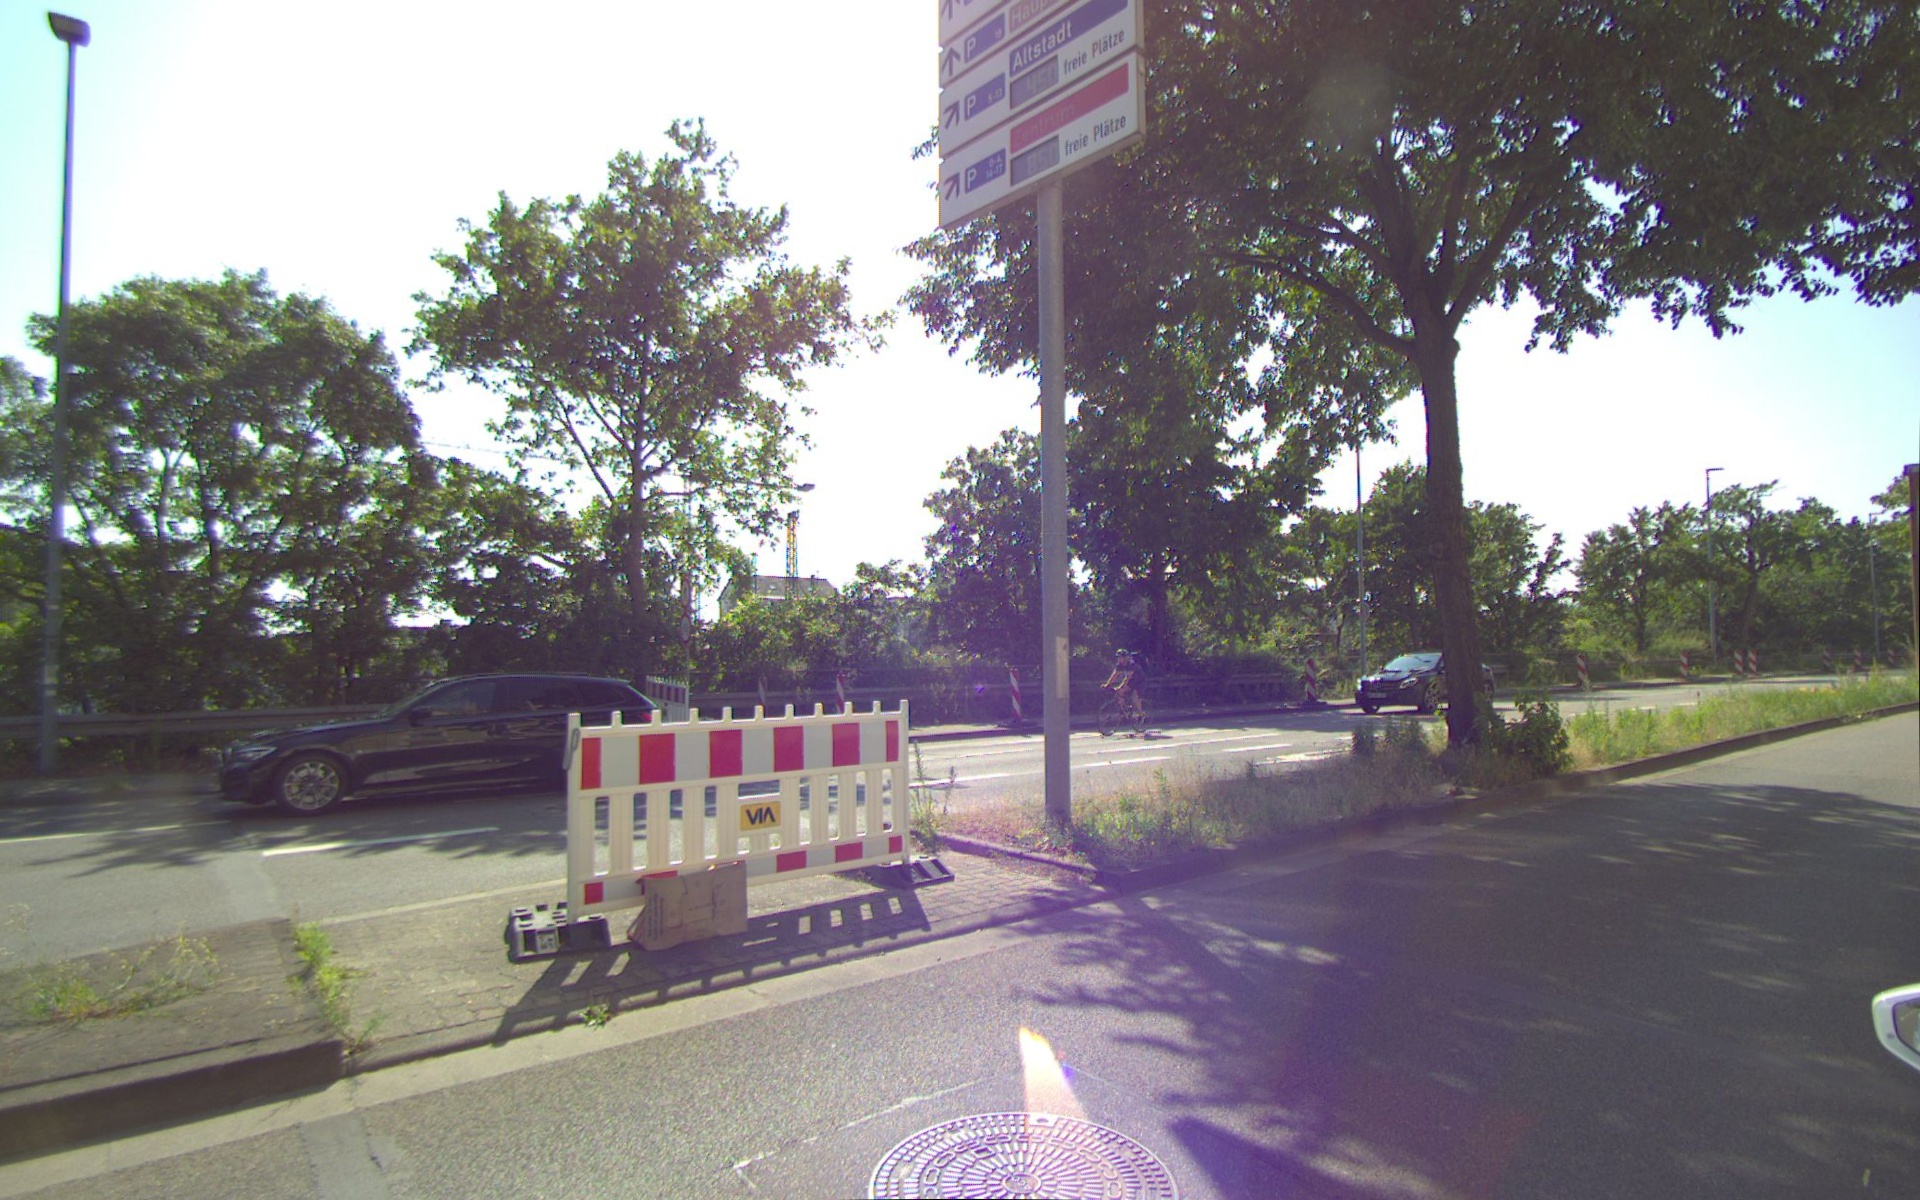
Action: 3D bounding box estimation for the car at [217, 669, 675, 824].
[{"bbox_3d":[-5.965,1.591,11.972,4.571,1.430,1.981,2,-5,-36],"label":"car"}]

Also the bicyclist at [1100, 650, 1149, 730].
[{"bbox_3d":[3.285,1.783,20.041,0.771,1.554,0.570,2,-4,-35],"label":"bicyclist"}]

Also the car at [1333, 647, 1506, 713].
[{"bbox_3d":[11.836,2.019,25.773,4.653,1.548,1.981,2,-5,-36],"label":"car"}]

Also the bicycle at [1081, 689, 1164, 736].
[{"bbox_3d":[3.244,2.226,19.980,1.788,0.843,0.491,2,-4,-35],"label":"bicycle"}]
